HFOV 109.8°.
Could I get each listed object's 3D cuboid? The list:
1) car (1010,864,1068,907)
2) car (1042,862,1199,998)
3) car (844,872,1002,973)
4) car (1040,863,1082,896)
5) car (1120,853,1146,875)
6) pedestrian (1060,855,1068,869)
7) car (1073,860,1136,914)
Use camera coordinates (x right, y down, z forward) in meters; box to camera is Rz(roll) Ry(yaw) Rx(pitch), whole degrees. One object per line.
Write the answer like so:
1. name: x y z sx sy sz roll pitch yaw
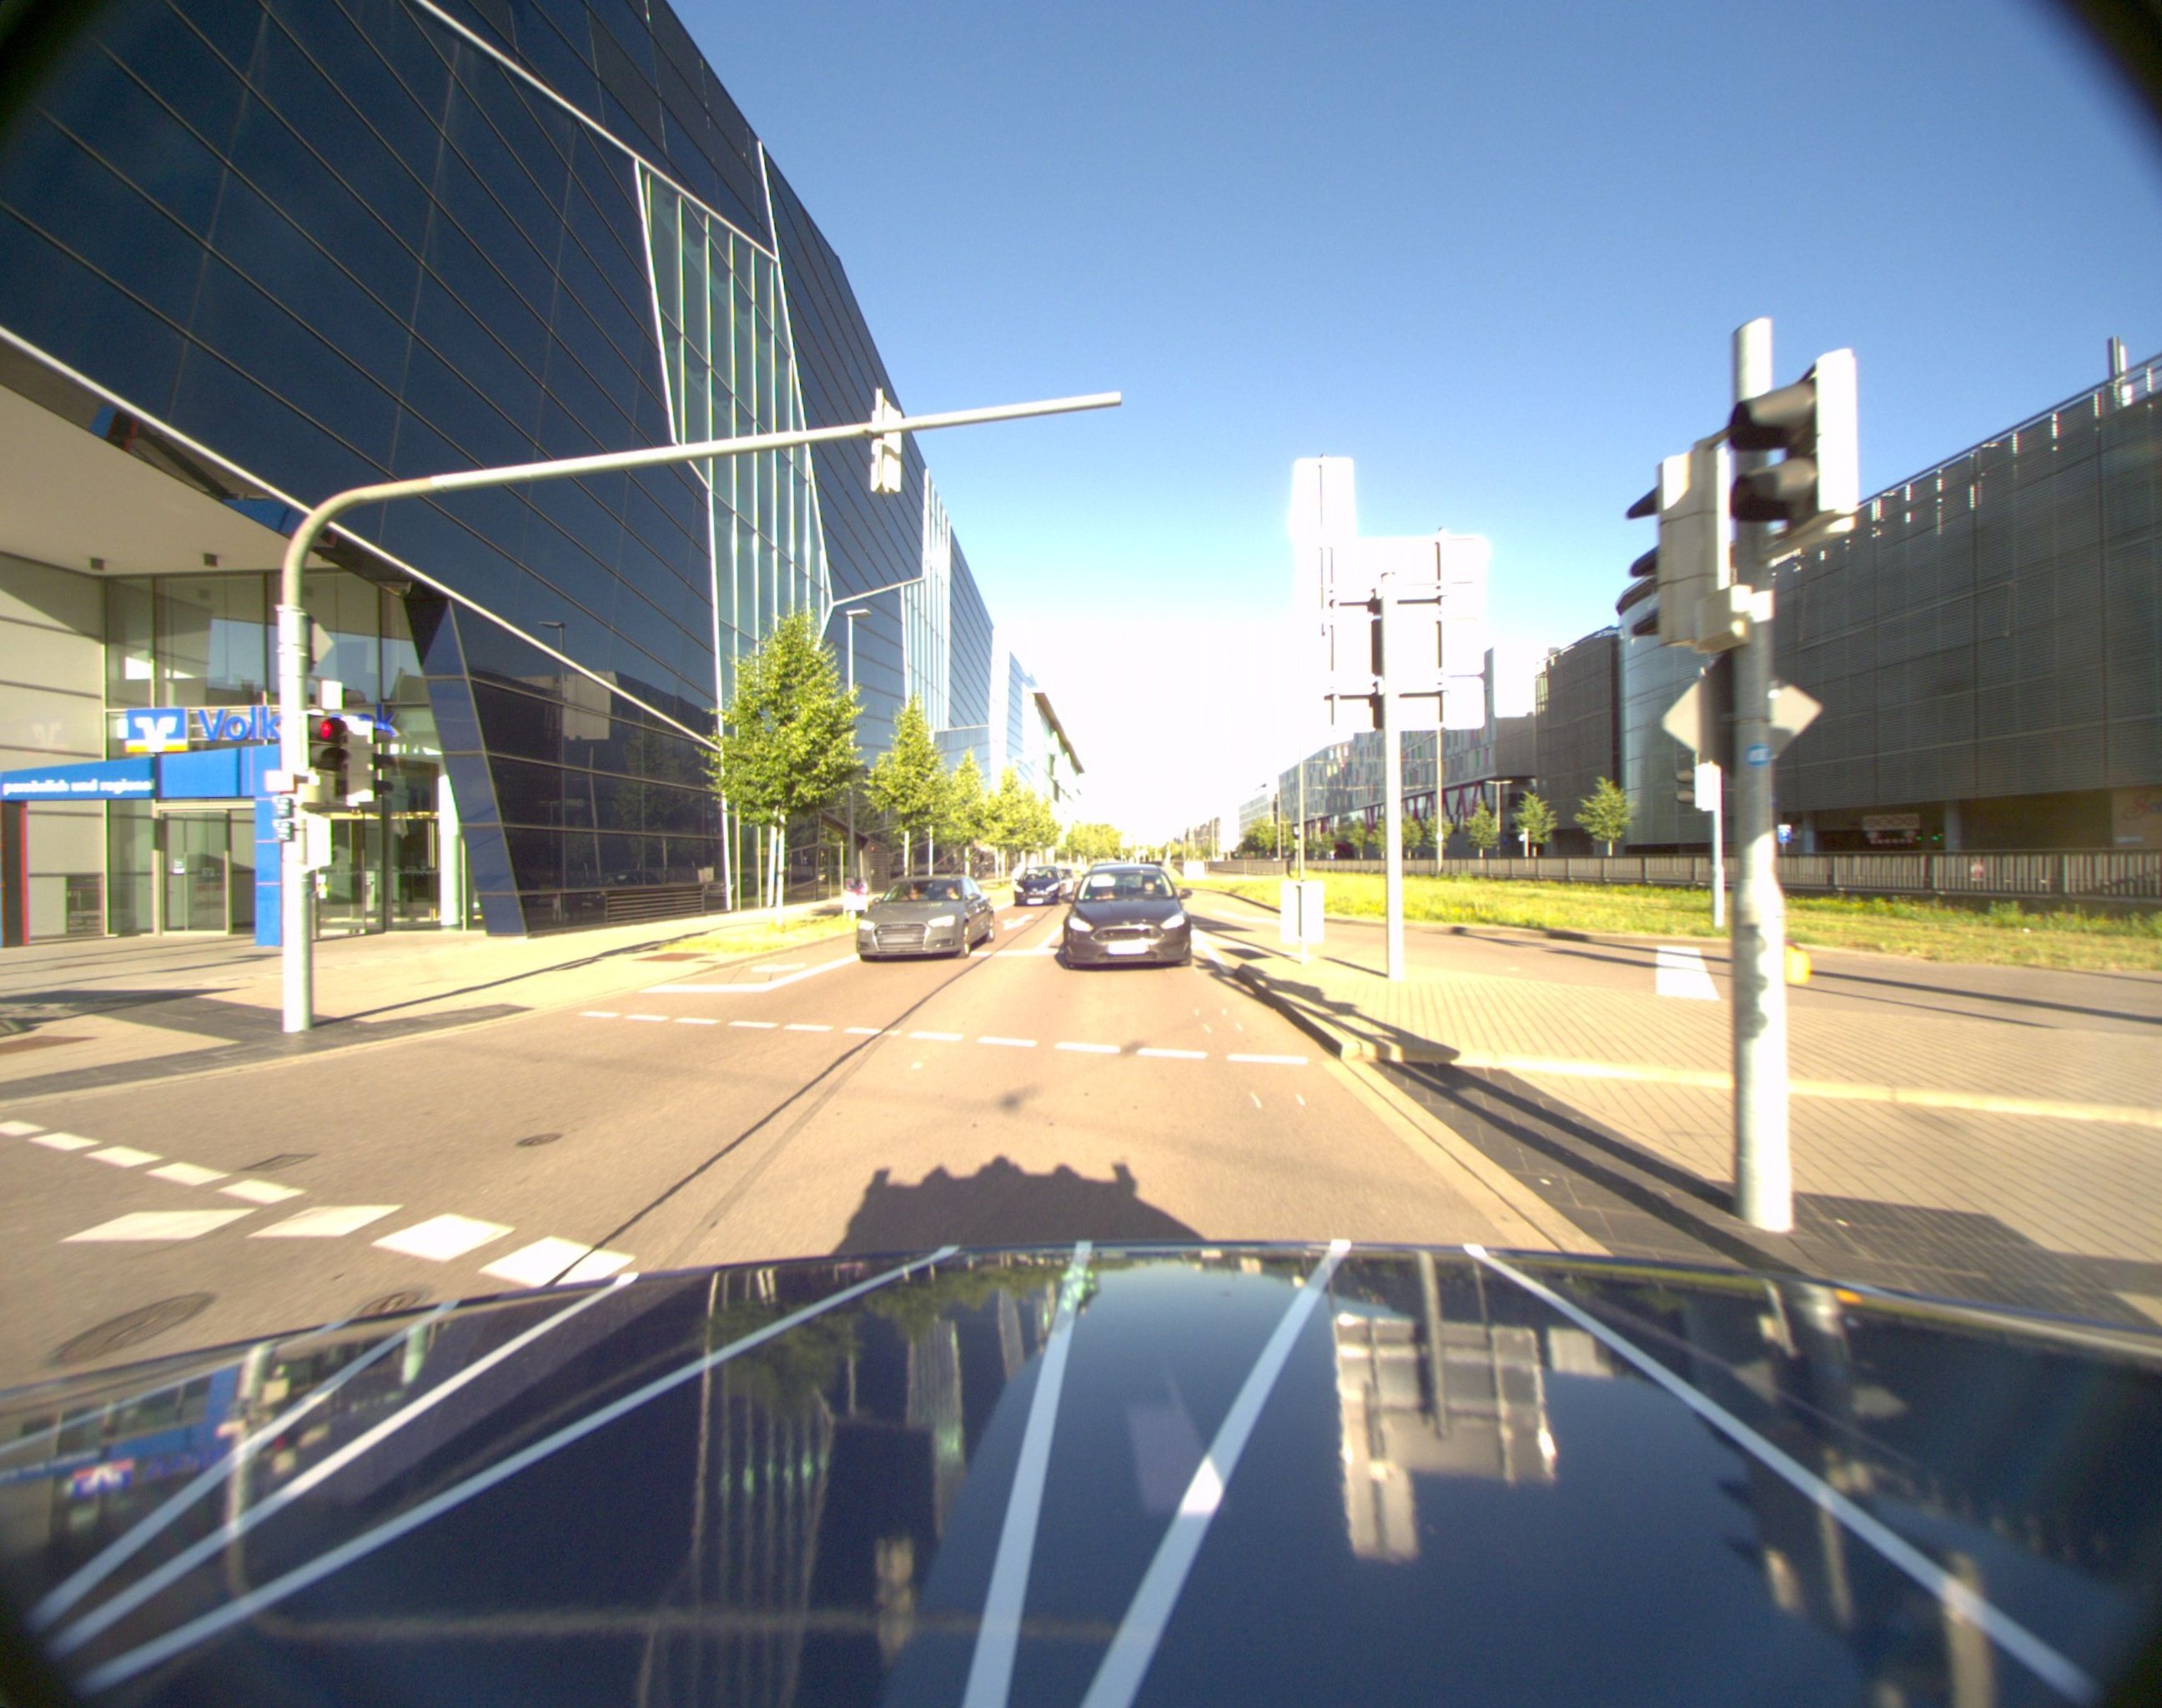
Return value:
1. car: -1.556 1.168 29.579 1.753 1.469 3.973 -2 0 4
2. car: 0.613 0.941 11.392 1.787 1.499 4.591 -4 0 4
3. car: -2.662 1.113 13.865 1.750 1.384 4.265 -2 0 3
4. car: -0.975 1.236 38.057 1.753 1.469 3.419 -2 0 4
5. car: 4.007 0.727 58.895 1.907 1.612 4.001 -1 0 4
6. pedestrian: -2.261 1.009 100.482 0.828 1.814 0.905 3 0 3
7. car: 0.863 1.030 25.495 1.907 1.612 4.001 -1 0 4
